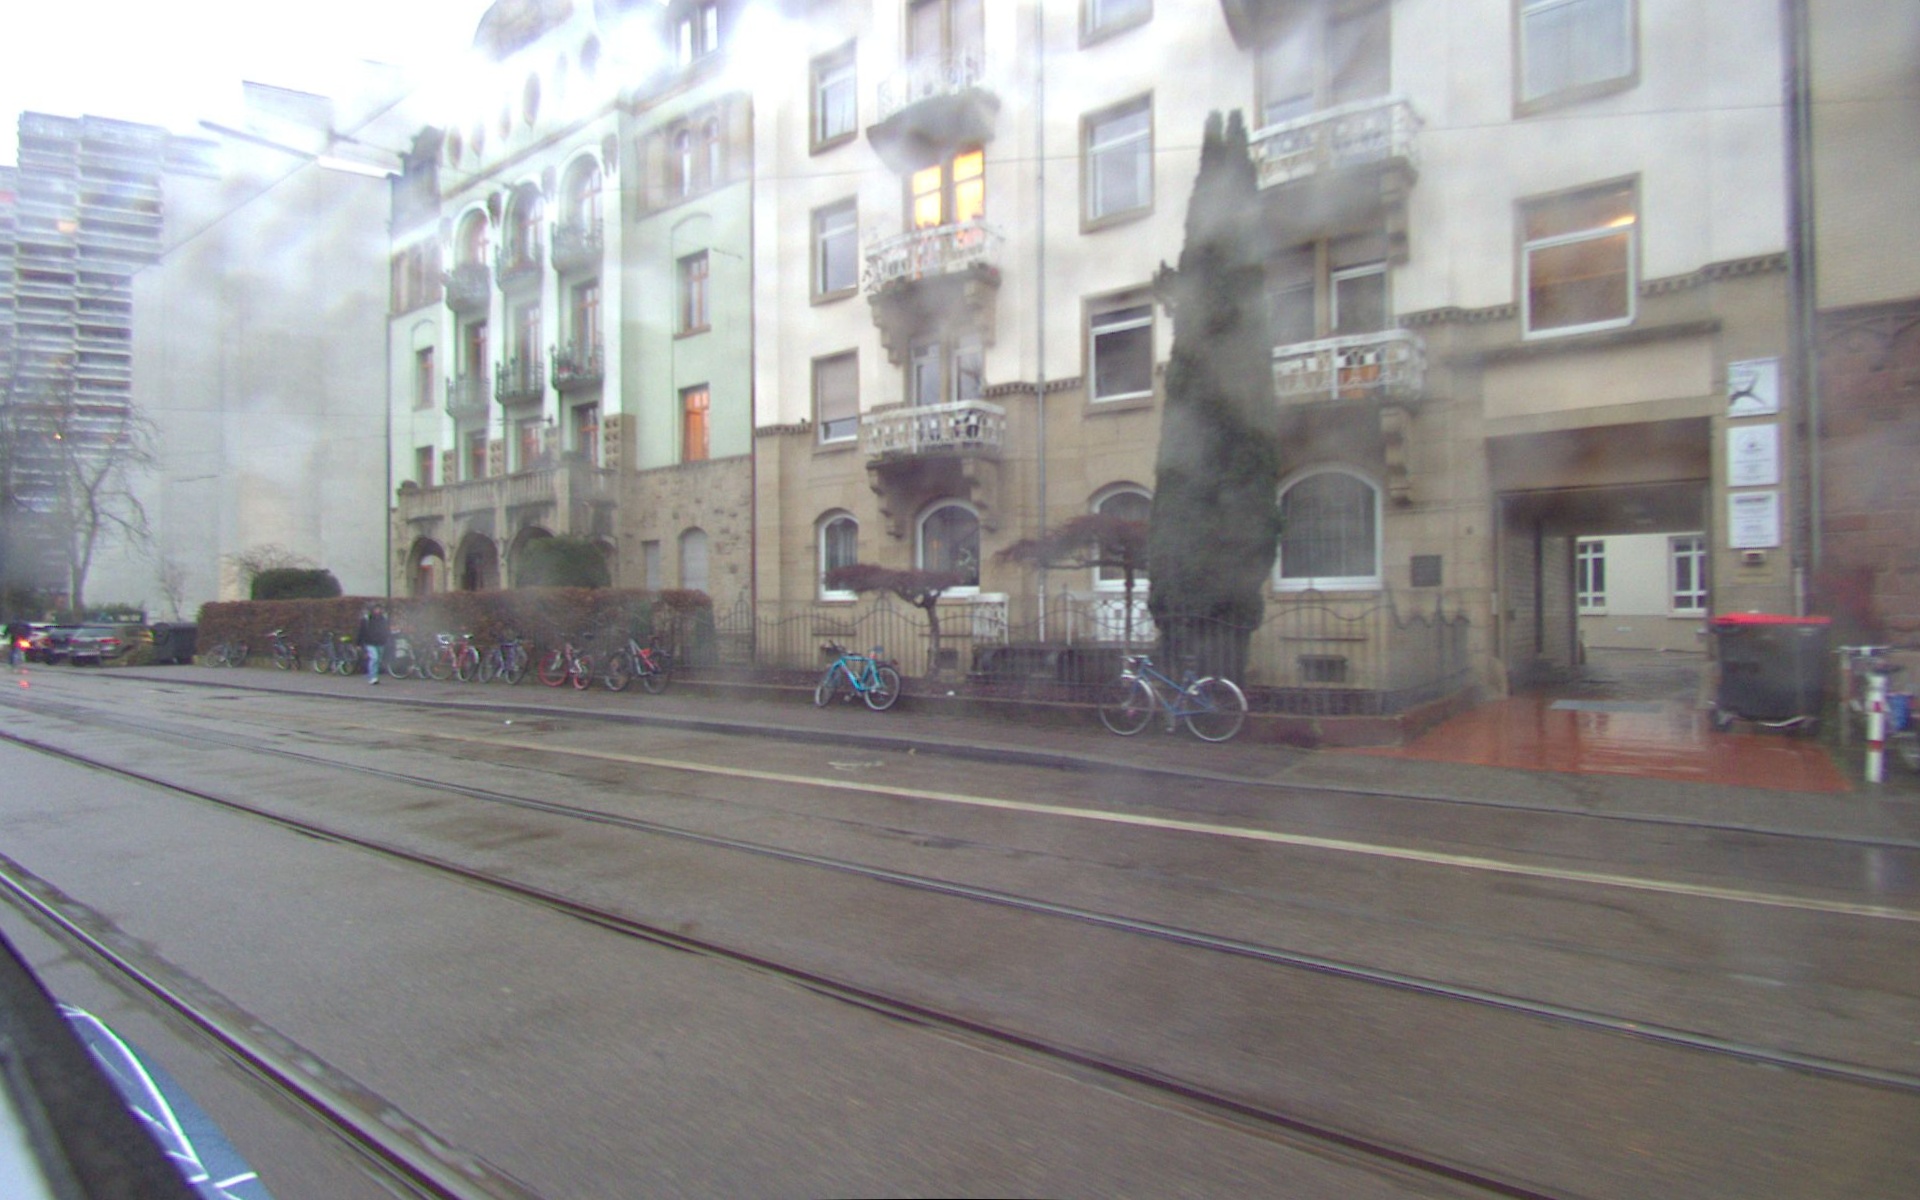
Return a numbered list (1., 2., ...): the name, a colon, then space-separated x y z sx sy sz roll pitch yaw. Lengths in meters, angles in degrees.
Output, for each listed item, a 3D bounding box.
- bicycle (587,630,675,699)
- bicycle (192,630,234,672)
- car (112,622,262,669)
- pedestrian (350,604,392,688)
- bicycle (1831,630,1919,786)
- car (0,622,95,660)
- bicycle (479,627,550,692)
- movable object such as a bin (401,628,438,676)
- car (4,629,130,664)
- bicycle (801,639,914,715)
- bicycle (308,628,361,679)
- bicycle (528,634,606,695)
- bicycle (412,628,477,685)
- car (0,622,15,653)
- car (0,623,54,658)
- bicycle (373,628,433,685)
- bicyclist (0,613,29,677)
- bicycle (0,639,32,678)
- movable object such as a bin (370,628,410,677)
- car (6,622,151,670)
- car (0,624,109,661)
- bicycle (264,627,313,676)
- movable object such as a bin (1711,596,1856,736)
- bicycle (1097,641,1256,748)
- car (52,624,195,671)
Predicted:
1. bicycle: -5.782 1.106 17.740 1.781 1.134 0.617 -1 -2 40
2. bicycle: -21.918 1.475 29.689 1.661 1.173 0.617 -1 -1 39
3. car: -26.579 1.529 34.971 1.847 1.505 3.990 -1 -1 8
4. pedestrian: -12.583 0.969 21.625 0.644 1.738 0.567 0 1 41
5. bicycle: 8.300 0.889 9.014 0.694 1.114 2.327 -1 1 38
6. car: -42.166 1.844 46.295 1.843 1.608 4.000 -1 -1 0
7. bicycle: -8.797 1.148 19.952 1.661 1.221 0.617 -1 -2 39
8. movable object such as a bin: -13.588 1.304 25.427 0.674 1.173 0.617 -2 -2 39
9. car: -34.339 1.761 39.057 1.687 1.262 3.666 0 -2 -1
10. bicycle: -1.484 1.069 14.491 1.661 1.010 0.617 -1 -2 39
11. bicycle: -15.626 1.312 25.273 1.661 1.221 0.617 -1 -2 39
12. bicycle: -7.359 1.180 18.916 1.725 1.073 0.617 -1 -2 40
13. bicycle: -10.996 1.178 21.574 1.661 1.173 0.617 -1 -2 39
14. car: -50.524 1.943 51.134 1.843 1.608 4.000 -1 -1 0
15. car: -45.219 1.905 47.515 1.843 1.608 4.000 -1 -1 0
16. bicycle: -12.534 1.257 22.762 1.661 1.221 0.617 -1 -2 39
17. bicyclist: -28.759 1.345 30.686 0.990 1.891 0.617 -2 -2 39
18. bicycle: -28.776 1.760 30.711 1.946 1.101 0.617 -1 -2 40
19. movable object such as a bin: -14.031 1.292 24.904 0.674 1.173 0.651 -2 -2 39
20. car: -32.010 1.621 36.904 1.843 1.608 4.000 -1 -1 0
21. car: -39.489 1.817 43.875 1.843 1.460 4.000 -1 -1 0
22. bicycle: -17.661 1.337 26.620 1.661 1.221 0.617 -1 -2 39
23. movable object such as a bin: 8.991 0.680 11.097 1.166 1.390 1.092 -1 1 39
24. bicycle: 2.425 1.031 11.474 1.661 1.101 0.617 -1 -2 39
25. car: -29.137 1.624 35.429 1.740 1.497 4.000 -1 -1 0
